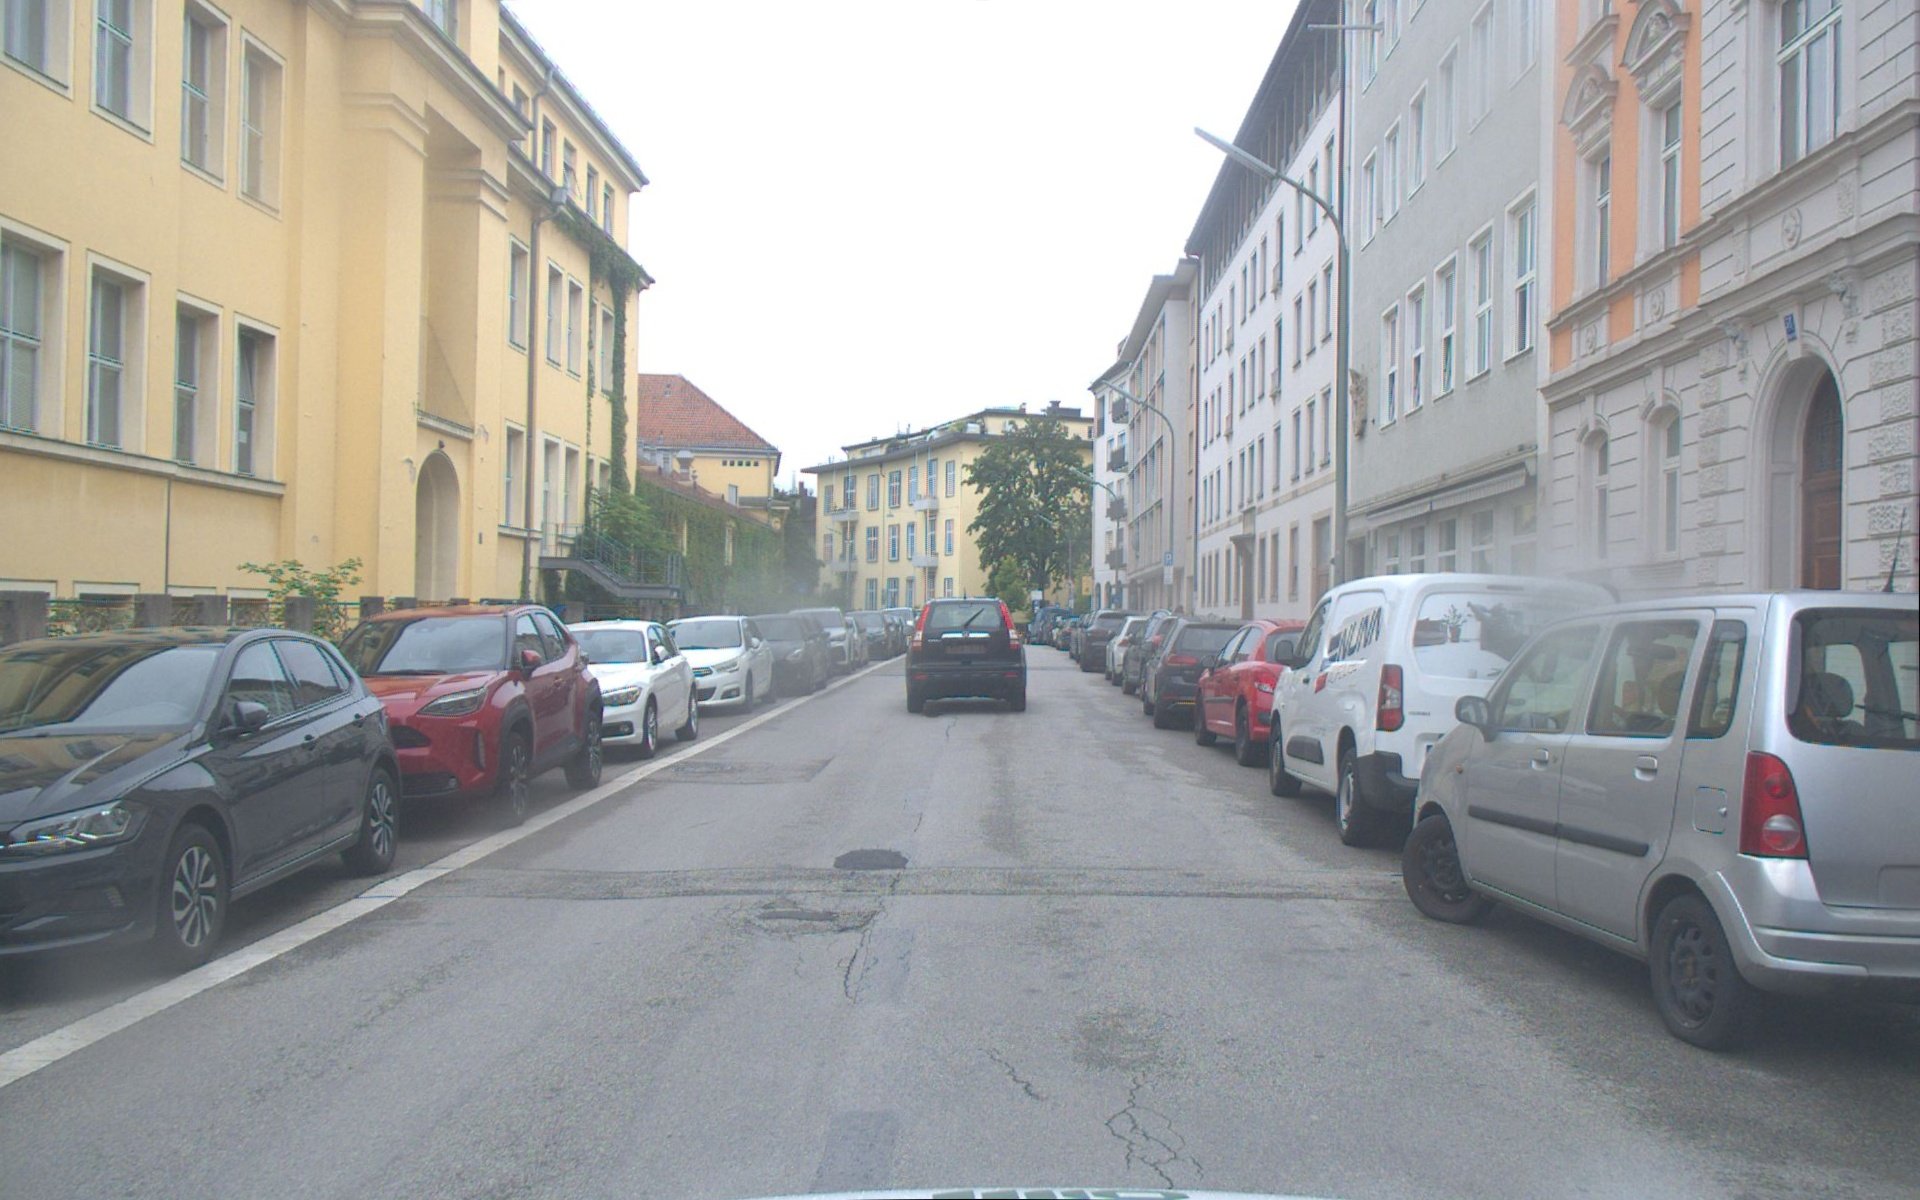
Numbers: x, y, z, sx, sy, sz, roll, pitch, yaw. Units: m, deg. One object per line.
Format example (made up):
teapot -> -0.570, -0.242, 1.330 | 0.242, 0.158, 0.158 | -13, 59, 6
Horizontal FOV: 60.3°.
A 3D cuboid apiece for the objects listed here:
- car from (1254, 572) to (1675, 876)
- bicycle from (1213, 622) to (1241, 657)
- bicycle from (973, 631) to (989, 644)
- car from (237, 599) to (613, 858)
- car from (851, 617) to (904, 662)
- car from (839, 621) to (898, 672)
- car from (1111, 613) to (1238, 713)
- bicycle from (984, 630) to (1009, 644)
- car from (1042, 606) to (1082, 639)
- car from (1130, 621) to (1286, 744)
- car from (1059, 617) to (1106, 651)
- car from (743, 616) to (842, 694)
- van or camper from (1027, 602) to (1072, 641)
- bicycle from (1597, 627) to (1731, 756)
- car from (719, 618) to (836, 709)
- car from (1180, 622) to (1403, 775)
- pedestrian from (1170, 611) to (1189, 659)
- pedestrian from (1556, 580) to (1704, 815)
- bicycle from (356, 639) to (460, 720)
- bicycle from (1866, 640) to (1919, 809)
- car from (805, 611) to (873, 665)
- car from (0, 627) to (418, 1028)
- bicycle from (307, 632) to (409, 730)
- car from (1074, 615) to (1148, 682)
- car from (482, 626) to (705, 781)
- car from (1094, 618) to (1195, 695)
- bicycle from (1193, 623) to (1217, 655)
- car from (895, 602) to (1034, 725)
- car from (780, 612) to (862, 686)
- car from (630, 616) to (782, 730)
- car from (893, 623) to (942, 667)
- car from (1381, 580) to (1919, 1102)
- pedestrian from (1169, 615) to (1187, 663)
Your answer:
car -> 3.500, 0.771, 12.505 | 1.802, 1.817, 4.895 | 1, -1, 2
bicycle -> 8.915, 1.299, 55.195 | 0.645, 1.146, 2.028 | -1, -1, 2
bicycle -> 1.789, 3.164, 141.103 | 0.600, 1.091, 2.202 | 0, -1, -22
car -> -3.891, 0.849, 12.734 | 1.641, 1.594, 3.995 | -3, 0, -2
car -> -2.971, 1.406, 60.262 | 1.745, 1.565, 4.148 | 1, -1, -1
car -> -2.976, 1.493, 54.425 | 1.745, 1.565, 4.194 | 0, 0, -1
car -> 3.809, 1.085, 29.960 | 1.658, 1.611, 4.082 | 3, -1, -1
bicycle -> 3.064, 3.088, 139.068 | 2.178, 1.136, 0.606 | 0, -2, 43
car -> 5.848, 1.261, 95.633 | 1.924, 1.848, 4.934 | 0, 0, -1
car -> 3.347, 1.068, 22.994 | 1.657, 1.476, 4.084 | 3, -1, 2
car -> 5.429, 1.497, 73.972 | 1.759, 1.445, 4.482 | 0, -1, 0
car -> -3.651, 1.167, 36.563 | 1.645, 1.531, 3.974 | -2, 0, 1
van or camper -> 5.457, 1.285, 101.045 | 2.020, 2.270, 5.433 | 1, -1, -4
bicycle -> 7.478, 0.937, 17.669 | 0.637, 1.204, 2.096 | -1, 1, 4
car -> -3.402, 1.155, 31.441 | 1.645, 1.522, 3.986 | -2, 0, 1
car -> 3.518, 0.992, 18.271 | 1.566, 1.476, 4.300 | 0, -1, -1
pedestrian -> 7.765, 1.239, 58.452 | 0.584, 1.683, 0.630 | 1, -1, 1
pedestrian -> 4.958, 0.704, 12.267 | 0.843, 1.691, 0.647 | 0, -1, 1
bicycle -> -8.025, 1.133, 24.130 | 0.573, 1.096, 1.718 | 2, 0, 13
bicycle -> 7.356, 0.938, 11.880 | 0.637, 1.204, 2.096 | -1, 1, 4
car -> -3.387, 1.049, 46.923 | 1.645, 1.451, 3.894 | 0, 0, -1
car -> -4.062, 0.900, 8.068 | 1.641, 1.429, 3.988 | -3, 0, -3
bicycle -> -8.083, 1.066, 22.283 | 0.573, 1.218, 1.718 | 2, 0, 5
car -> 3.846, 1.212, 42.582 | 1.741, 1.612, 4.331 | 1, -1, 3
car -> -3.931, 1.054, 18.344 | 1.641, 1.422, 3.995 | -3, 0, -2
car -> 3.962, 1.186, 36.075 | 1.658, 1.489, 4.082 | 3, -1, -1
bicycle -> 9.227, 1.460, 62.444 | 0.645, 1.183, 2.028 | -1, -1, 2
car -> 0.056, 0.921, 25.699 | 1.954, 1.724, 4.379 | 1, -1, 0
car -> -3.415, 1.174, 41.226 | 1.646, 1.662, 4.356 | -2, 0, -1
car -> -3.879, 1.075, 25.881 | 1.688, 1.554, 4.087 | -3, 0, 0
car -> -1.913, 2.060, 76.339 | 1.952, 1.908, 4.759 | 0, 0, 2
car -> 3.242, 0.829, 7.216 | 1.572, 1.671, 3.627 | 2, -1, -5
pedestrian -> 7.391, 1.325, 56.123 | 0.520, 1.612, 0.560 | 1, -1, 1
